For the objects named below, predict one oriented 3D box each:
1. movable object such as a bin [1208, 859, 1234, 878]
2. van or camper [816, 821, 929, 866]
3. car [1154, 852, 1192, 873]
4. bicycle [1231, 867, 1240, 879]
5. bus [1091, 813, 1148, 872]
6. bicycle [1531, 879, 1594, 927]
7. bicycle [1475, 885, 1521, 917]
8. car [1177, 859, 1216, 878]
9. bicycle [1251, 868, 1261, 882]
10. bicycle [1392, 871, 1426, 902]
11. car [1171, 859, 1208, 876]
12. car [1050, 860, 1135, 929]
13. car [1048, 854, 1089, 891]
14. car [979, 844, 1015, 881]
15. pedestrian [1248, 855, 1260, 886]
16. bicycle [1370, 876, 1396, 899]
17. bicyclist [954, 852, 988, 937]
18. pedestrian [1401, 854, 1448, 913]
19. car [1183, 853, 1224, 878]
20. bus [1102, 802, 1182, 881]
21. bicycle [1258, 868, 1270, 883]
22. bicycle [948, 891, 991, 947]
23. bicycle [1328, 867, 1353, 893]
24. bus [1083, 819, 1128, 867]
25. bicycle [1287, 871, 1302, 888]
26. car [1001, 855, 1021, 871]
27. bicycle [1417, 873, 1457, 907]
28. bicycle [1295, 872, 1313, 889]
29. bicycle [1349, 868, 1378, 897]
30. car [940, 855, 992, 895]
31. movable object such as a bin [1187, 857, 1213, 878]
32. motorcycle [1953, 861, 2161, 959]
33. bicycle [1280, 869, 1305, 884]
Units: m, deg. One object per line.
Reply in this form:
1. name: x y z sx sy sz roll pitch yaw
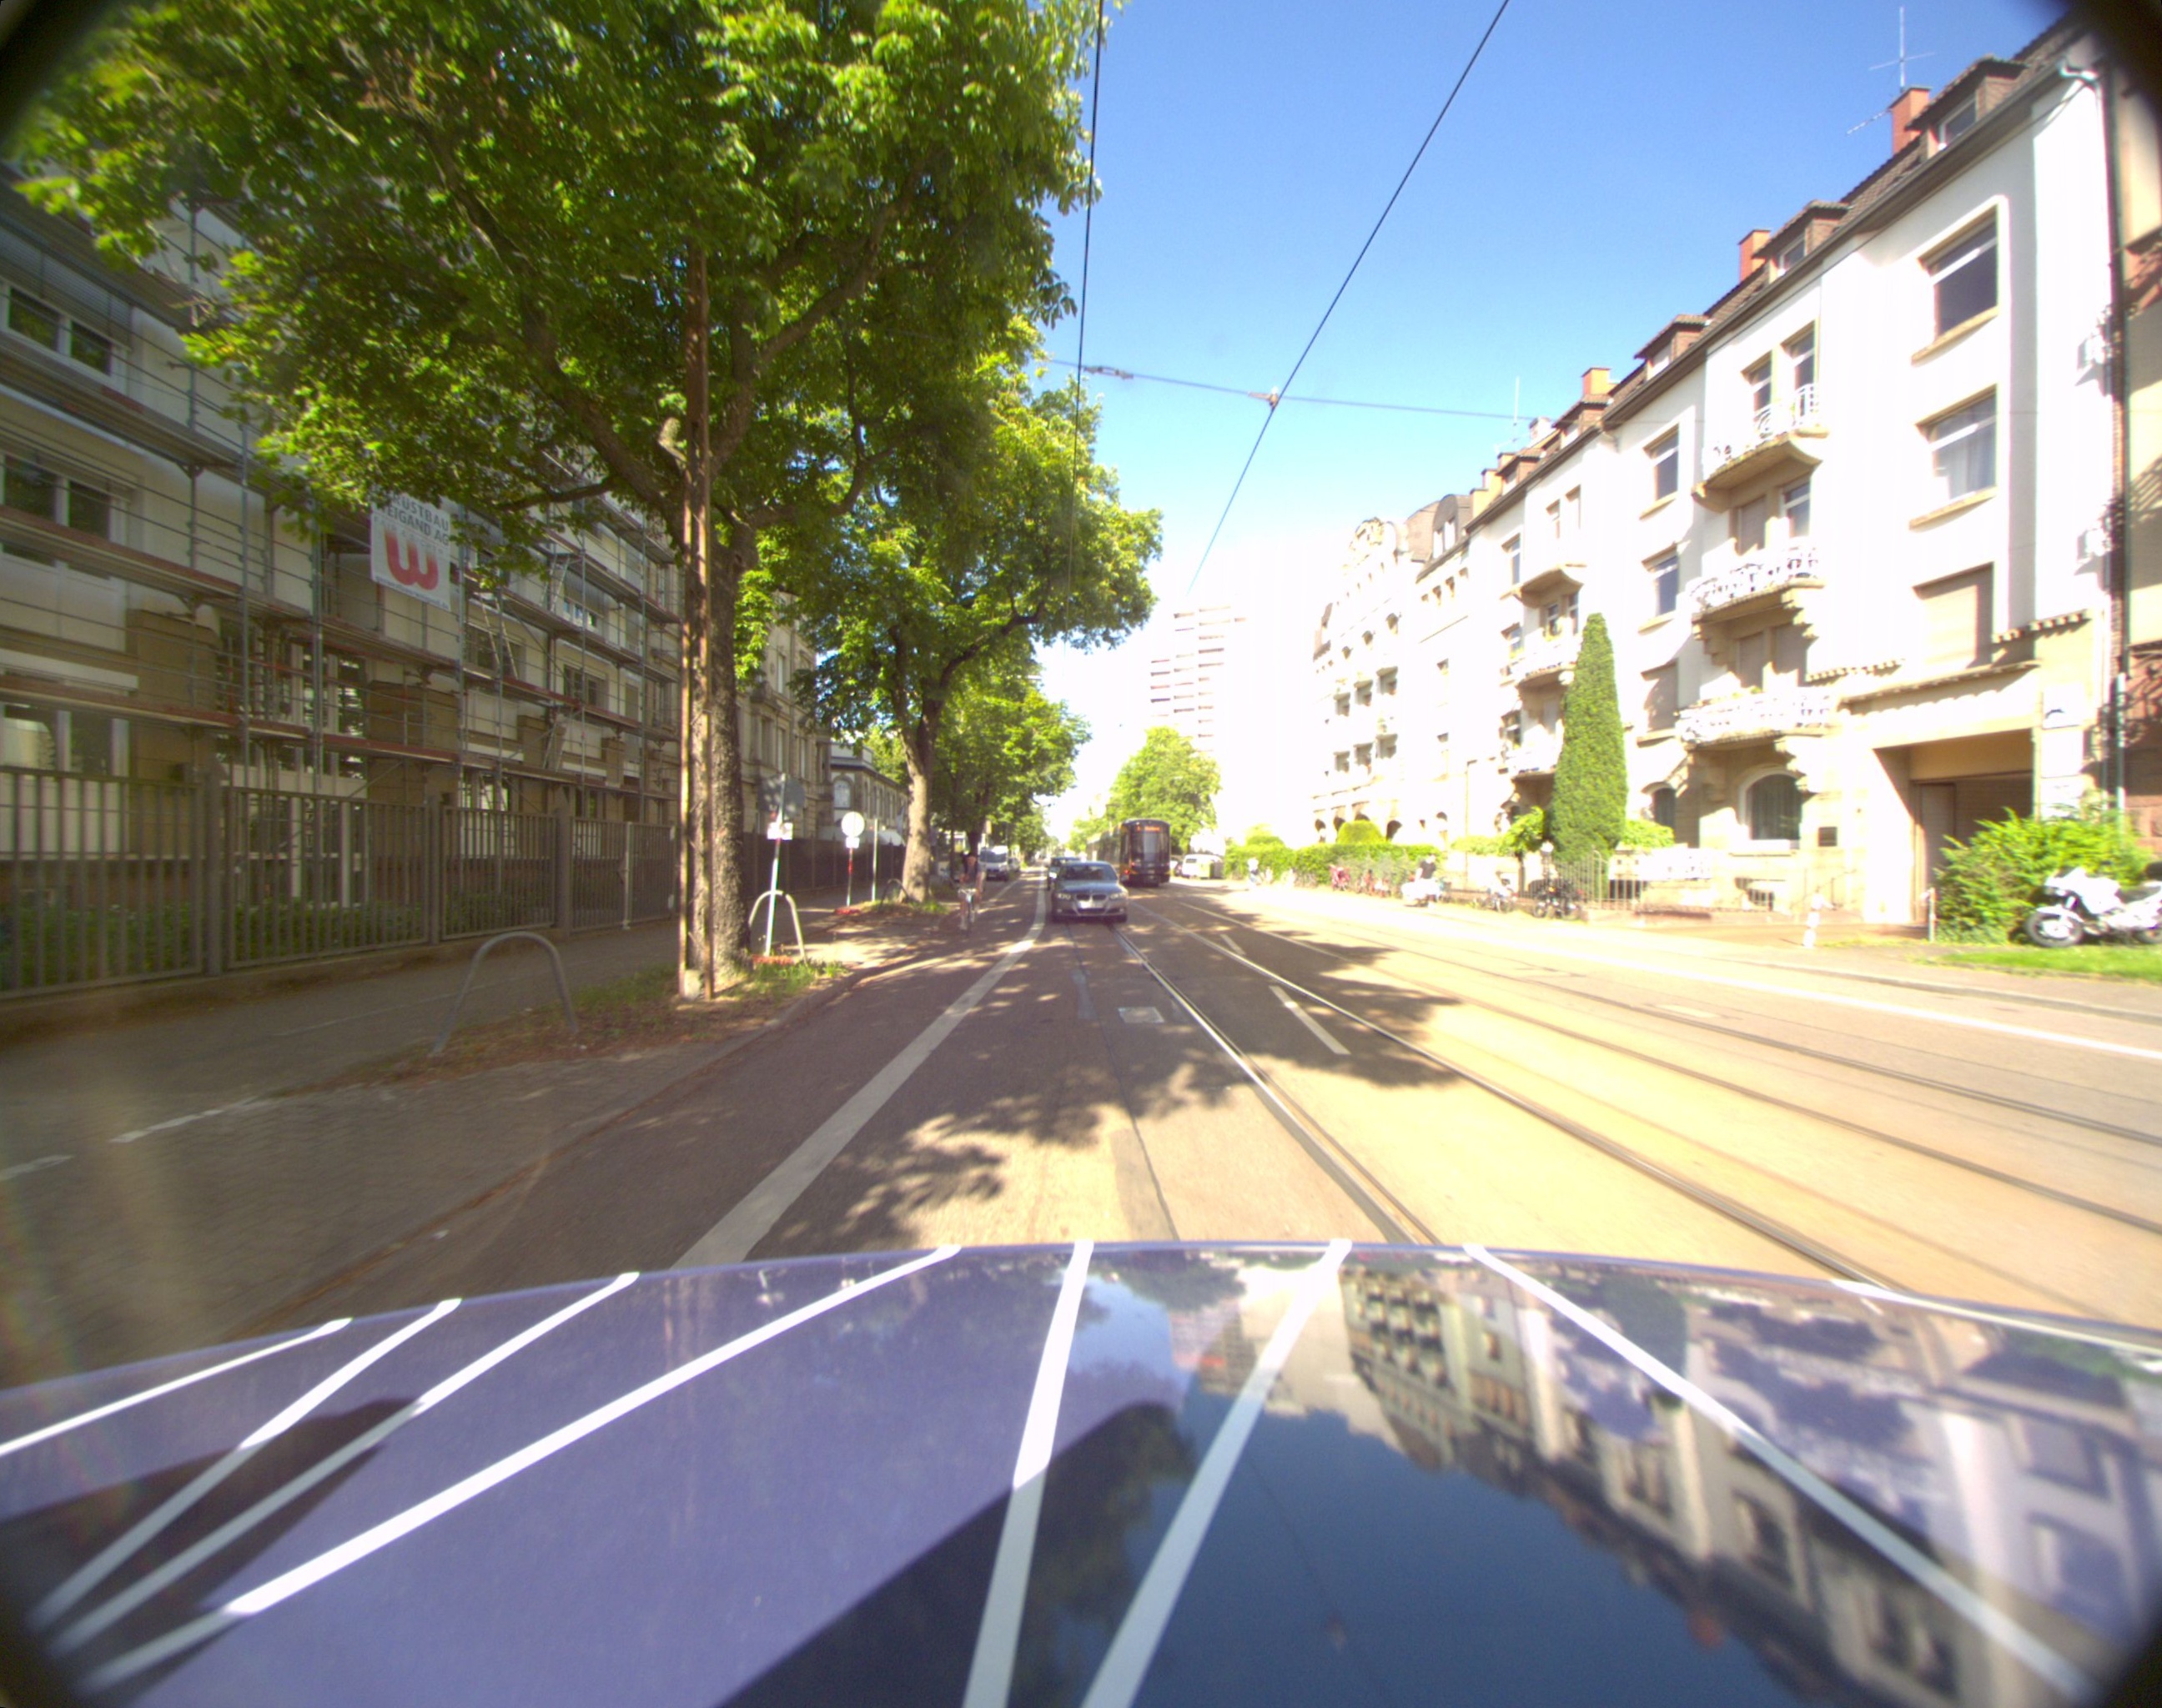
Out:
1. movable object such as a bin: 10.297 1.039 55.888 1.501 1.309 2.095 -1 1 -1
2. van or camper: -12.720 -0.590 46.281 6.721 2.612 2.126 0 1 23
3. car: 8.692 0.758 71.754 1.917 1.860 3.450 0 1 44
4. bicycle: 9.976 1.237 49.124 0.297 0.757 1.263 -1 1 -1
5. bus: 2.556 -0.823 54.479 2.867 3.755 11.178 -1 1 -3
6. bicycle: 11.566 1.152 18.304 0.405 1.033 1.748 -1 1 -1
7. bicycle: 11.239 1.254 20.536 0.318 0.757 1.651 -1 1 -1
8. car: 9.316 1.179 61.315 2.758 1.427 1.457 -1 1 -18
9. bicycle: 10.228 1.243 44.378 0.297 0.757 1.263 -1 1 -1
10. bicycle: 11.134 1.094 25.843 0.405 0.937 1.648 -1 1 -1
11. car: 9.230 1.135 64.681 2.758 1.427 1.457 -1 1 -18
12. car: 0.233 0.901 18.748 1.870 1.426 3.999 -1 1 -1
13. car: -0.573 0.799 35.498 1.828 1.559 3.999 -1 1 -1
14. car: -5.696 0.497 51.990 2.132 2.329 5.802 2 1 -4
15. pedestrian: 9.248 0.870 40.670 0.476 1.619 0.659 -1 1 -1
16. bicycle: 10.975 1.198 27.631 0.318 0.757 1.542 -1 1 -1
17. bicyclist: -2.211 0.796 15.308 0.532 1.660 0.878 -1 1 0
18. pedestrian: 10.104 0.854 22.352 0.869 1.619 0.870 -5 1 -1
19. car: 9.422 0.885 58.302 1.456 1.763 3.194 0 -2 44
20. bus: 3.144 -0.674 42.775 2.858 3.755 12.192 -1 1 -3
21. bicycle: 10.250 1.210 42.585 0.318 0.757 1.263 -1 1 -1
22. bicycle: -2.208 1.268 15.261 0.535 0.917 2.056 -1 1 0
23. bicycle: 10.796 1.069 31.685 0.405 1.018 1.815 -1 1 -1
24. bus: 1.966 -0.968 65.818 2.867 3.755 11.493 -1 1 -3
25. bicycle: 10.568 1.255 37.614 0.339 0.757 1.263 -1 1 -1
26. car: -6.836 0.852 74.977 1.867 1.541 4.100 0 1 -4
27. bicycle: 11.218 1.116 23.989 0.405 0.937 1.748 -1 1 -1
28. bicycle: 10.587 1.245 36.110 0.405 0.757 1.581 -1 1 -1
29. bicycle: 10.903 1.089 29.391 0.405 1.018 1.815 -1 1 -1
30. car: -4.967 0.860 33.383 1.877 1.534 4.363 2 1 -4
31. movable object such as a bin: 8.609 0.942 54.876 1.512 1.424 2.095 -1 1 -1
32. motorcycle: 15.838 0.862 12.113 3.093 1.448 0.823 -1 1 -3
33. bicycle: 11.344 1.186 40.805 1.262 0.789 0.297 -1 1 0
